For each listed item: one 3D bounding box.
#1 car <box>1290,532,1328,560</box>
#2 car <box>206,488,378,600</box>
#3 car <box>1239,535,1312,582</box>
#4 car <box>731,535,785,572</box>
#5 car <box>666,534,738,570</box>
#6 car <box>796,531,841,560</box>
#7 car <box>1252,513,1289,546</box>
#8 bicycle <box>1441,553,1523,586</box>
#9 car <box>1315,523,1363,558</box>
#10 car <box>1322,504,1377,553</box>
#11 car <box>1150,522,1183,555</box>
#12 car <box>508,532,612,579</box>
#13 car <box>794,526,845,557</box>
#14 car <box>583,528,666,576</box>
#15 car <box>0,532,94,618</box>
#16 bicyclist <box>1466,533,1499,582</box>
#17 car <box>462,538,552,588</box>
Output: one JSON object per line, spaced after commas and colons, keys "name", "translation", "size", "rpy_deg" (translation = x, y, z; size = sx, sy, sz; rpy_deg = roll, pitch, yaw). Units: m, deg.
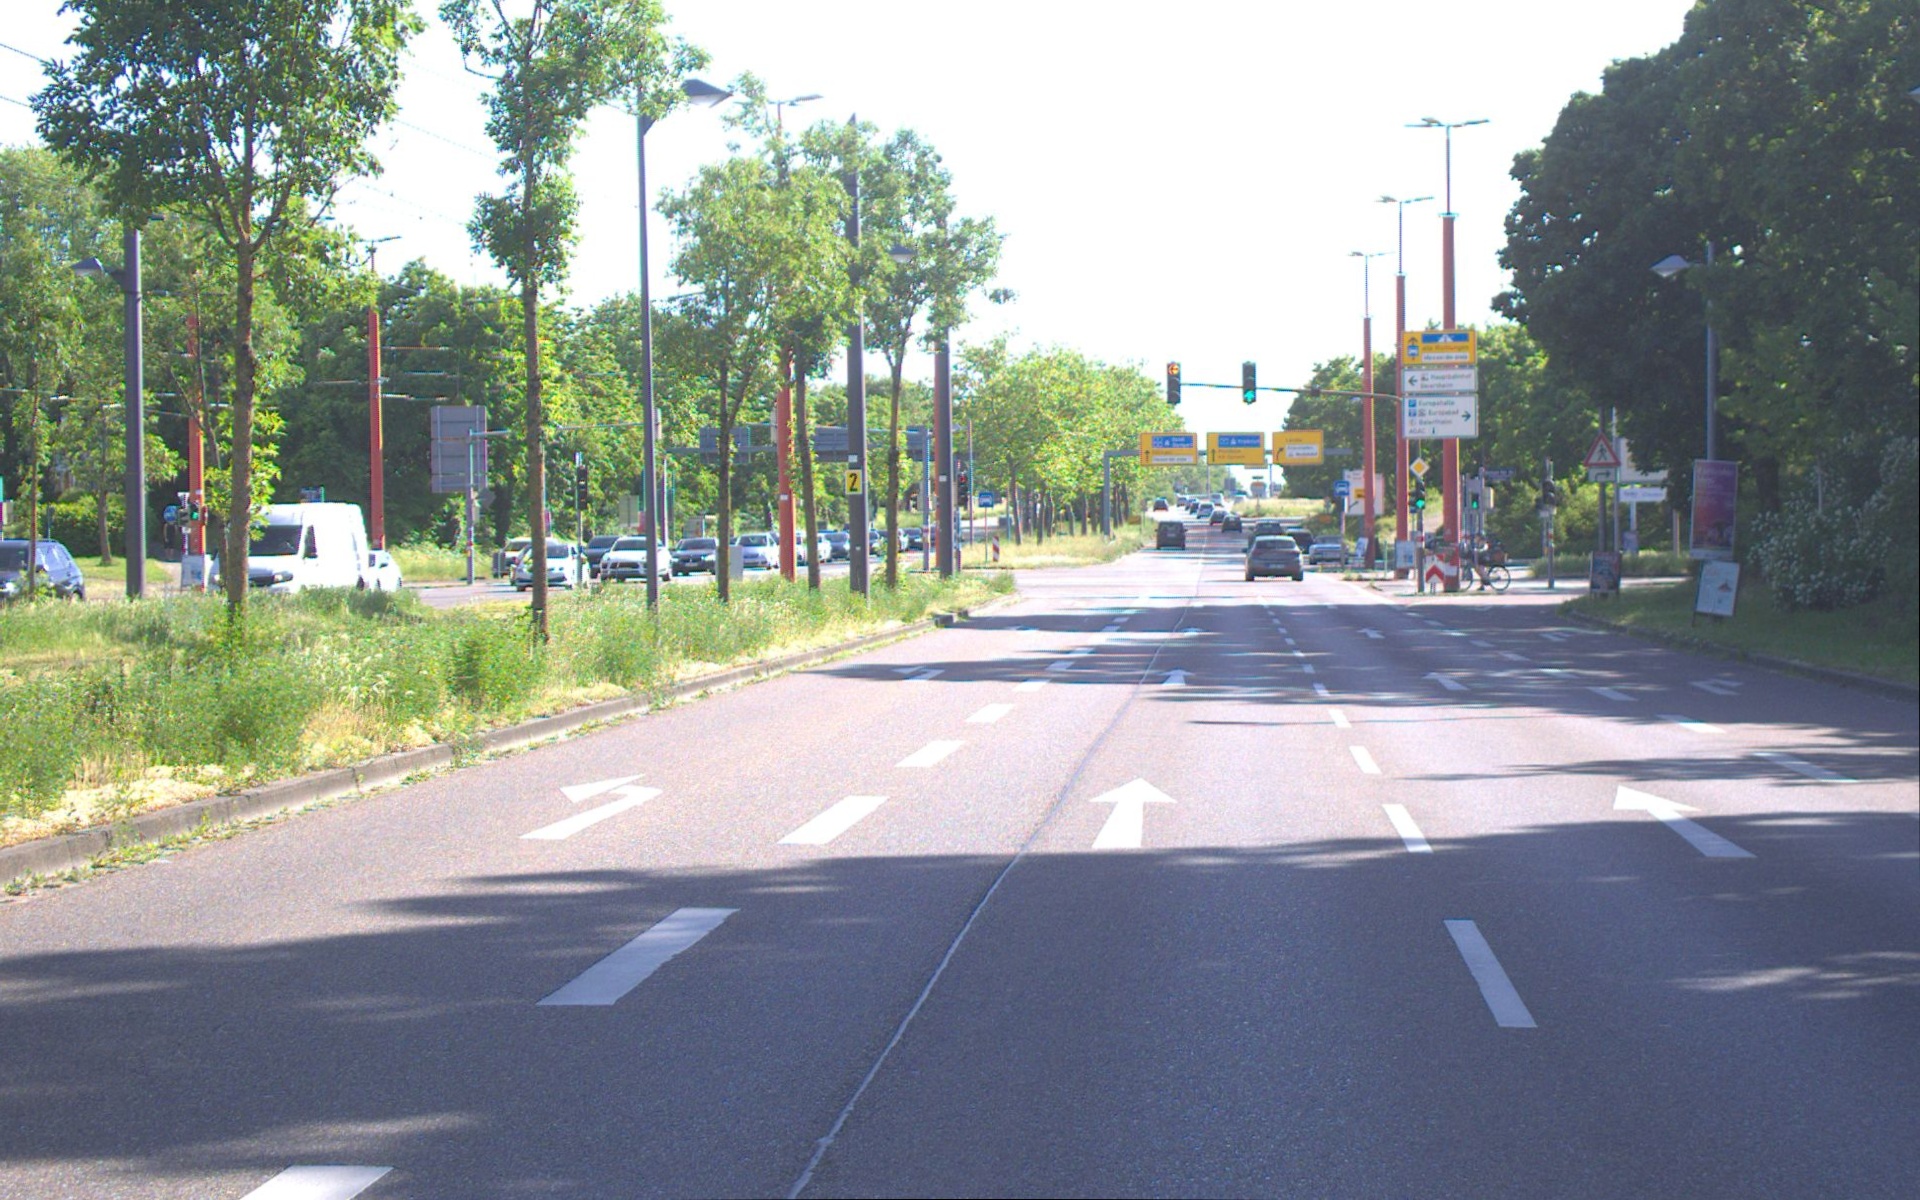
{"name": "car", "translation": [19.436, -3.029, 191.410], "size": [1.994, 1.535, 4.000], "rpy_deg": [0, 1, 4]}
{"name": "car", "translation": [-14.853, -1.256, 76.881], "size": [2.040, 2.361, 6.880], "rpy_deg": [1, 1, 4]}
{"name": "car", "translation": [10.223, -1.364, 111.598], "size": [1.993, 1.491, 4.000], "rpy_deg": [1, 1, 0]}
{"name": "car", "translation": [-8.779, -2.029, 149.534], "size": [1.763, 1.603, 3.757], "rpy_deg": [-1, 1, 5]}
{"name": "car", "translation": [-10.196, -1.905, 136.121], "size": [1.994, 1.404, 4.989], "rpy_deg": [1, 1, 6]}
{"name": "car", "translation": [-6.998, -2.694, 169.898], "size": [1.704, 1.418, 4.643], "rpy_deg": [-1, 1, 4]}
{"name": "car", "translation": [18.710, -4.248, 207.297], "size": [2.155, 2.007, 4.000], "rpy_deg": [0, 1, 4]}
{"name": "bicycle", "translation": [14.544, -0.853, 95.783], "size": [2.161, 0.875, 0.560], "rpy_deg": [1, 1, -7]}
{"name": "car", "translation": [17.081, -2.690, 155.199], "size": [1.994, 1.535, 4.000], "rpy_deg": [1, 1, 4]}
{"name": "car", "translation": [15.471, -2.842, 136.755], "size": [1.994, 1.881, 4.000], "rpy_deg": [-1, 1, 4]}
{"name": "car", "translation": [12.864, -3.816, 214.238], "size": [1.994, 2.007, 4.000], "rpy_deg": [1, 1, 4]}
{"name": "car", "translation": [-12.453, -1.390, 107.224], "size": [1.900, 1.393, 4.541], "rpy_deg": [1, 1, 11]}
{"name": "car", "translation": [-7.256, -3.044, 178.410], "size": [1.994, 1.589, 4.463], "rpy_deg": [-1, 1, 6]}
{"name": "car", "translation": [-11.712, -1.692, 120.279], "size": [1.895, 1.616, 4.656], "rpy_deg": [1, 1, 7]}
{"name": "car", "translation": [-18.550, -0.521, 66.394], "size": [1.994, 1.579, 5.272], "rpy_deg": [1, 1, 4]}
{"name": "bicyclist", "translation": [14.556, -1.190, 95.796], "size": [0.739, 1.337, 0.708], "rpy_deg": [1, 1, -5]}
{"name": "car", "translation": [-18.623, -1.549, 141.587], "size": [1.995, 2.007, 4.404], "rpy_deg": [0, 1, 18]}
